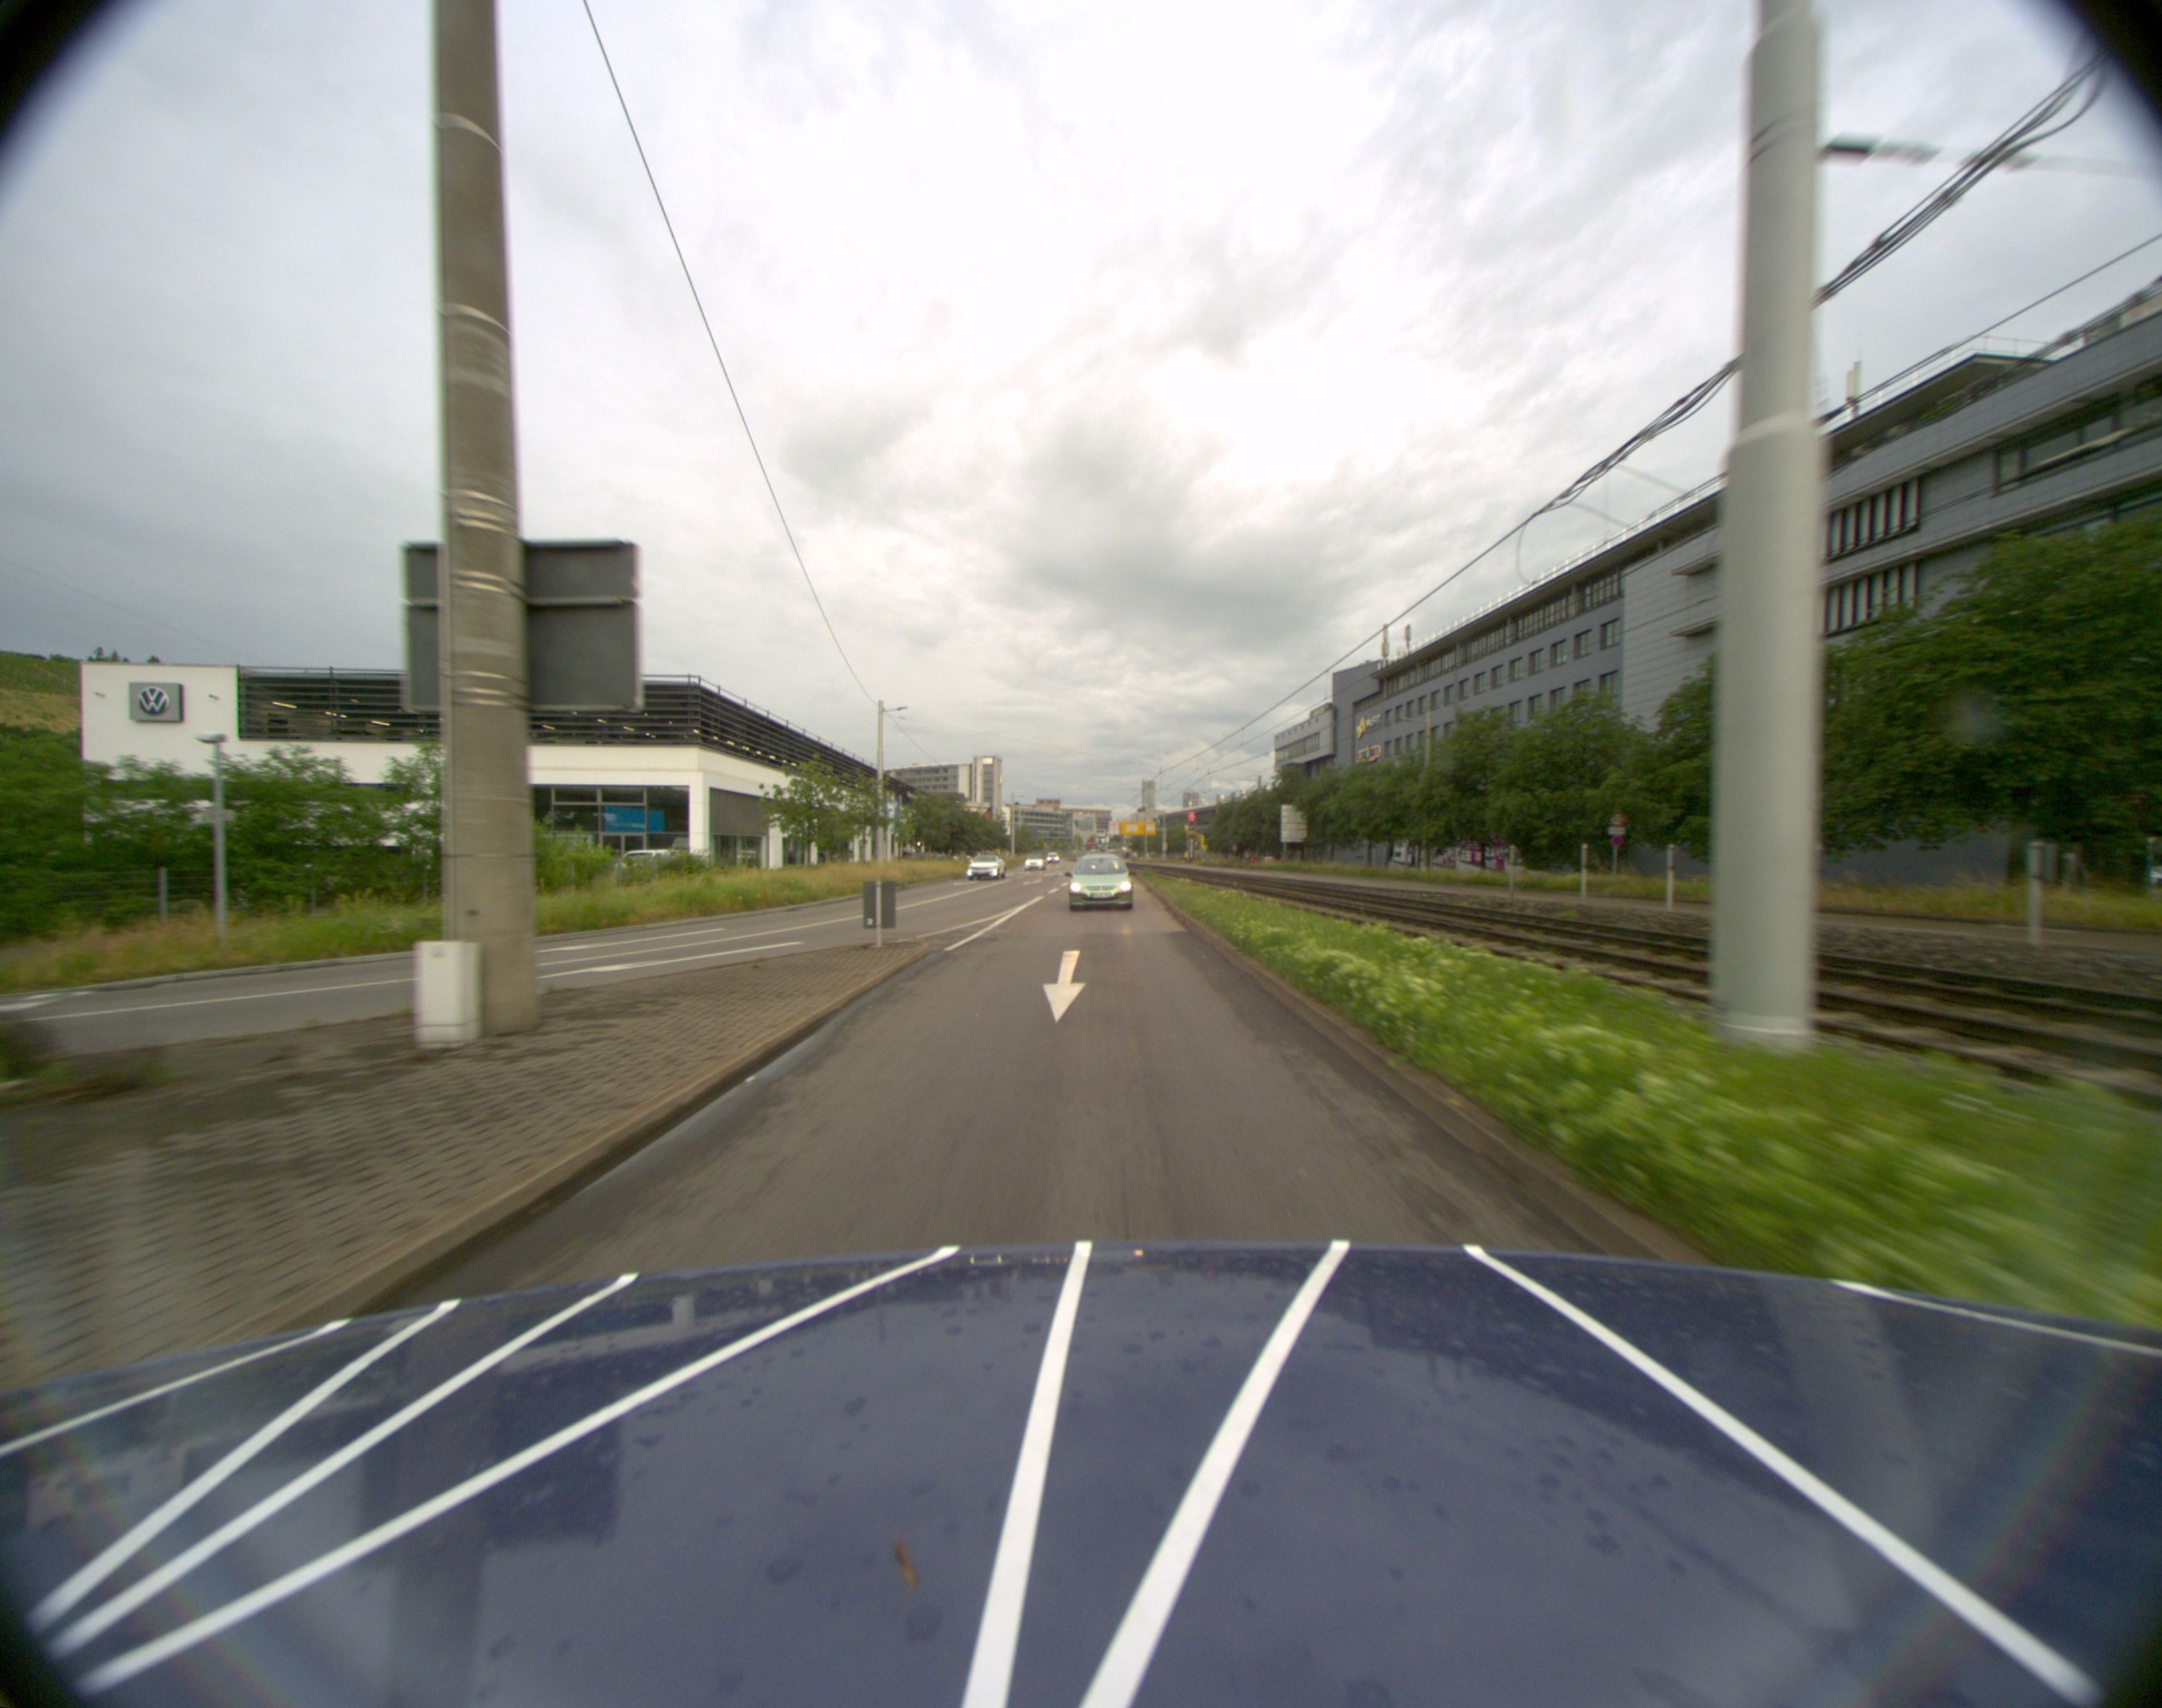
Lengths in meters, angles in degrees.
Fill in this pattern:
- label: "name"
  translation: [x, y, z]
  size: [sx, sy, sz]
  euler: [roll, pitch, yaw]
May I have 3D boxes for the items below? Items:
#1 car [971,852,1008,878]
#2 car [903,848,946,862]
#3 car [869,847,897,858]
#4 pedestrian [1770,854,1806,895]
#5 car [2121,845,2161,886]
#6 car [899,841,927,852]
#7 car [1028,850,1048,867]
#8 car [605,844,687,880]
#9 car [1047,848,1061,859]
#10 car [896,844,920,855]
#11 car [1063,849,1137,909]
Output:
- label: "car"
  translation: [-5.590, 0.631, 46.660]
  size: [1.879, 1.485, 3.835]
  euler: [0, 0, -2]
- label: "car"
  translation: [-18.858, 0.164, 91.532]
  size: [4.634, 1.559, 1.847]
  euler: [1, 2, -33]
- label: "car"
  translation: [-30.411, -0.267, 116.828]
  size: [3.827, 1.578, 1.638]
  euler: [0, 1, -4]
- label: "pedestrian"
  translation: [30.798, 0.890, 33.085]
  size: [0.727, 1.745, 0.877]
  euler: [-2, 1, 1]
- label: "car"
  translation: [47.826, 0.482, 33.342]
  size: [4.004, 1.718, 1.626]
  euler: [-1, 1, -22]
- label: "car"
  translation: [-26.259, -1.208, 118.719]
  size: [3.997, 1.499, 1.785]
  euler: [-2, 1, 0]
- label: "car"
  translation: [-4.019, 0.409, 71.765]
  size: [1.819, 1.584, 3.835]
  euler: [0, 0, -3]
- label: "car"
  translation: [-25.276, 0.422, 44.445]
  size: [2.049, 2.002, 5.089]
  euler: [-1, 1, -3]
- label: "car"
  translation: [-4.222, -0.097, 120.460]
  size: [1.890, 1.584, 3.982]
  euler: [0, 0, 3]
- label: "car"
  translation: [-31.275, -0.852, 137.569]
  size: [4.038, 1.964, 1.944]
  euler: [1, 1, -3]
- label: "car"
  translation: [0.457, 0.637, 21.760]
  size: [1.762, 1.489, 4.135]
  euler: [-2, 1, -3]
